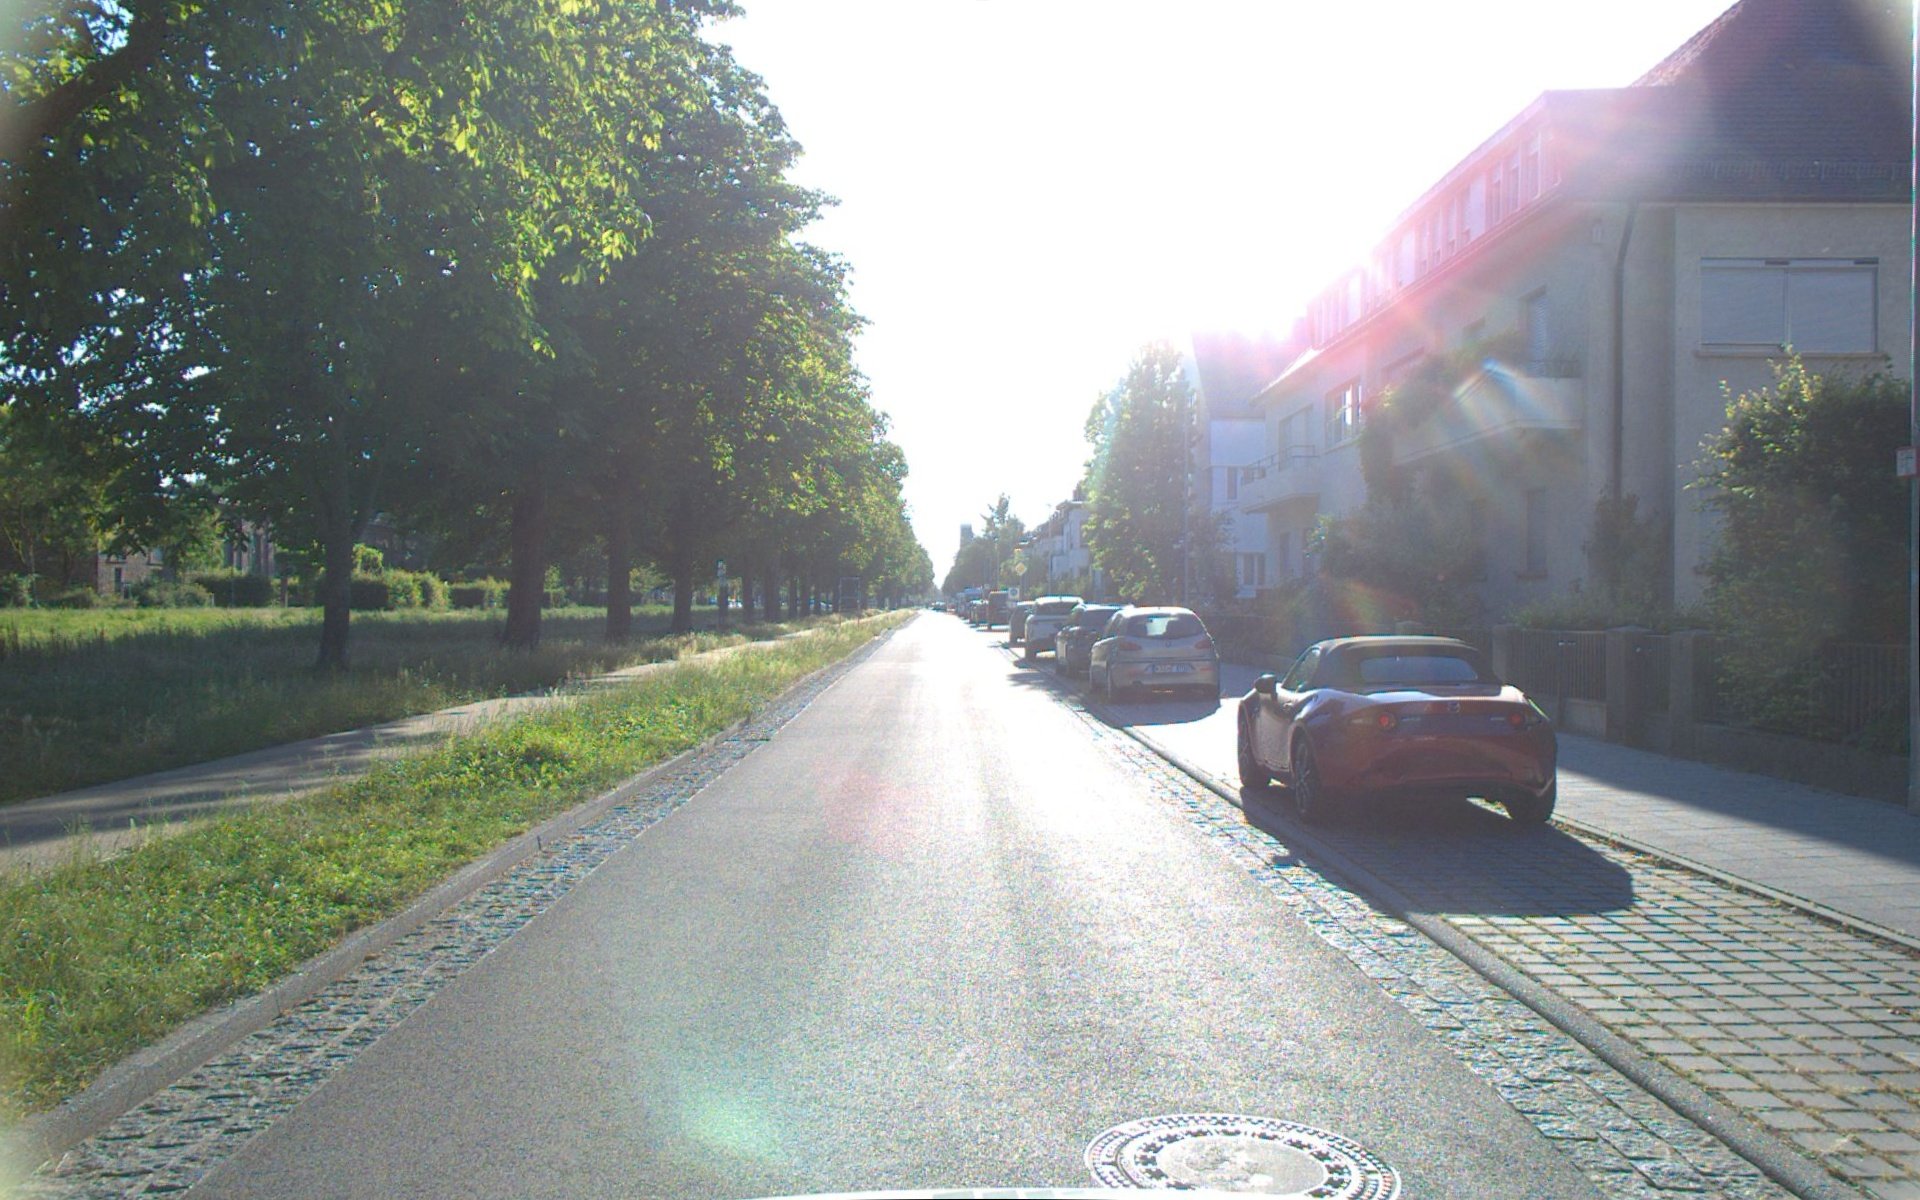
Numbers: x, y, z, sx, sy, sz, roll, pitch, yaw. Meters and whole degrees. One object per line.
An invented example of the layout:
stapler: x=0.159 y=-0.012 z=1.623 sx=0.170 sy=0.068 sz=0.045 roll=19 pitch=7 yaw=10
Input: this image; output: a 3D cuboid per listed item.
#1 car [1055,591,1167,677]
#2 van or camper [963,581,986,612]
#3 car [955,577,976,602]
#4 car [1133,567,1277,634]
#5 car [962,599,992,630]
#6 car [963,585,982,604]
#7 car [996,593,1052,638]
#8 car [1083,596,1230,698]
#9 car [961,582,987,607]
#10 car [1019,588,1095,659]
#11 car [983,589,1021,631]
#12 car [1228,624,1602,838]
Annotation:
car: x=2.964 y=0.632 z=33.246 sx=1.757 sy=1.520 sz=4.193 roll=-2 pitch=0 yaw=-1
van or camper: x=1.318 y=-0.299 z=151.938 sx=1.904 sy=2.826 sz=5.938 roll=1 pitch=-1 yaw=0
car: x=0.602 y=-1.150 z=182.246 sx=2.084 sy=2.577 sz=5.186 roll=-1 pitch=0 yaw=-3
car: x=7.304 y=0.003 z=49.458 sx=3.906 sy=1.877 sz=1.813 roll=1 pitch=1 yaw=-7
car: x=1.059 y=0.917 z=106.611 sx=1.757 sy=1.802 sz=4.472 roll=-2 pitch=0 yaw=-1
car: x=1.106 y=-0.508 z=145.606 sx=1.630 sy=1.621 sz=4.085 roll=1 pitch=0 yaw=-1
car: x=2.296 y=0.537 z=60.207 sx=1.757 sy=1.508 sz=4.123 roll=-2 pitch=0 yaw=-1
car: x=3.042 y=0.682 z=26.395 sx=1.757 sy=1.404 sz=4.078 roll=-2 pitch=0 yaw=-1
car: x=1.000 y=-0.406 z=118.838 sx=1.795 sy=1.714 sz=4.415 roll=2 pitch=1 yaw=-1
car: x=2.583 y=0.640 z=44.765 sx=1.866 sy=1.738 sz=4.575 roll=-2 pitch=-1 yaw=2
car: x=2.281 y=0.501 z=90.464 sx=1.867 sy=2.169 sz=4.814 roll=-2 pitch=0 yaw=0
car: x=3.190 y=0.856 z=12.381 sx=1.664 sy=1.279 sz=3.879 roll=-1 pitch=0 yaw=-1
